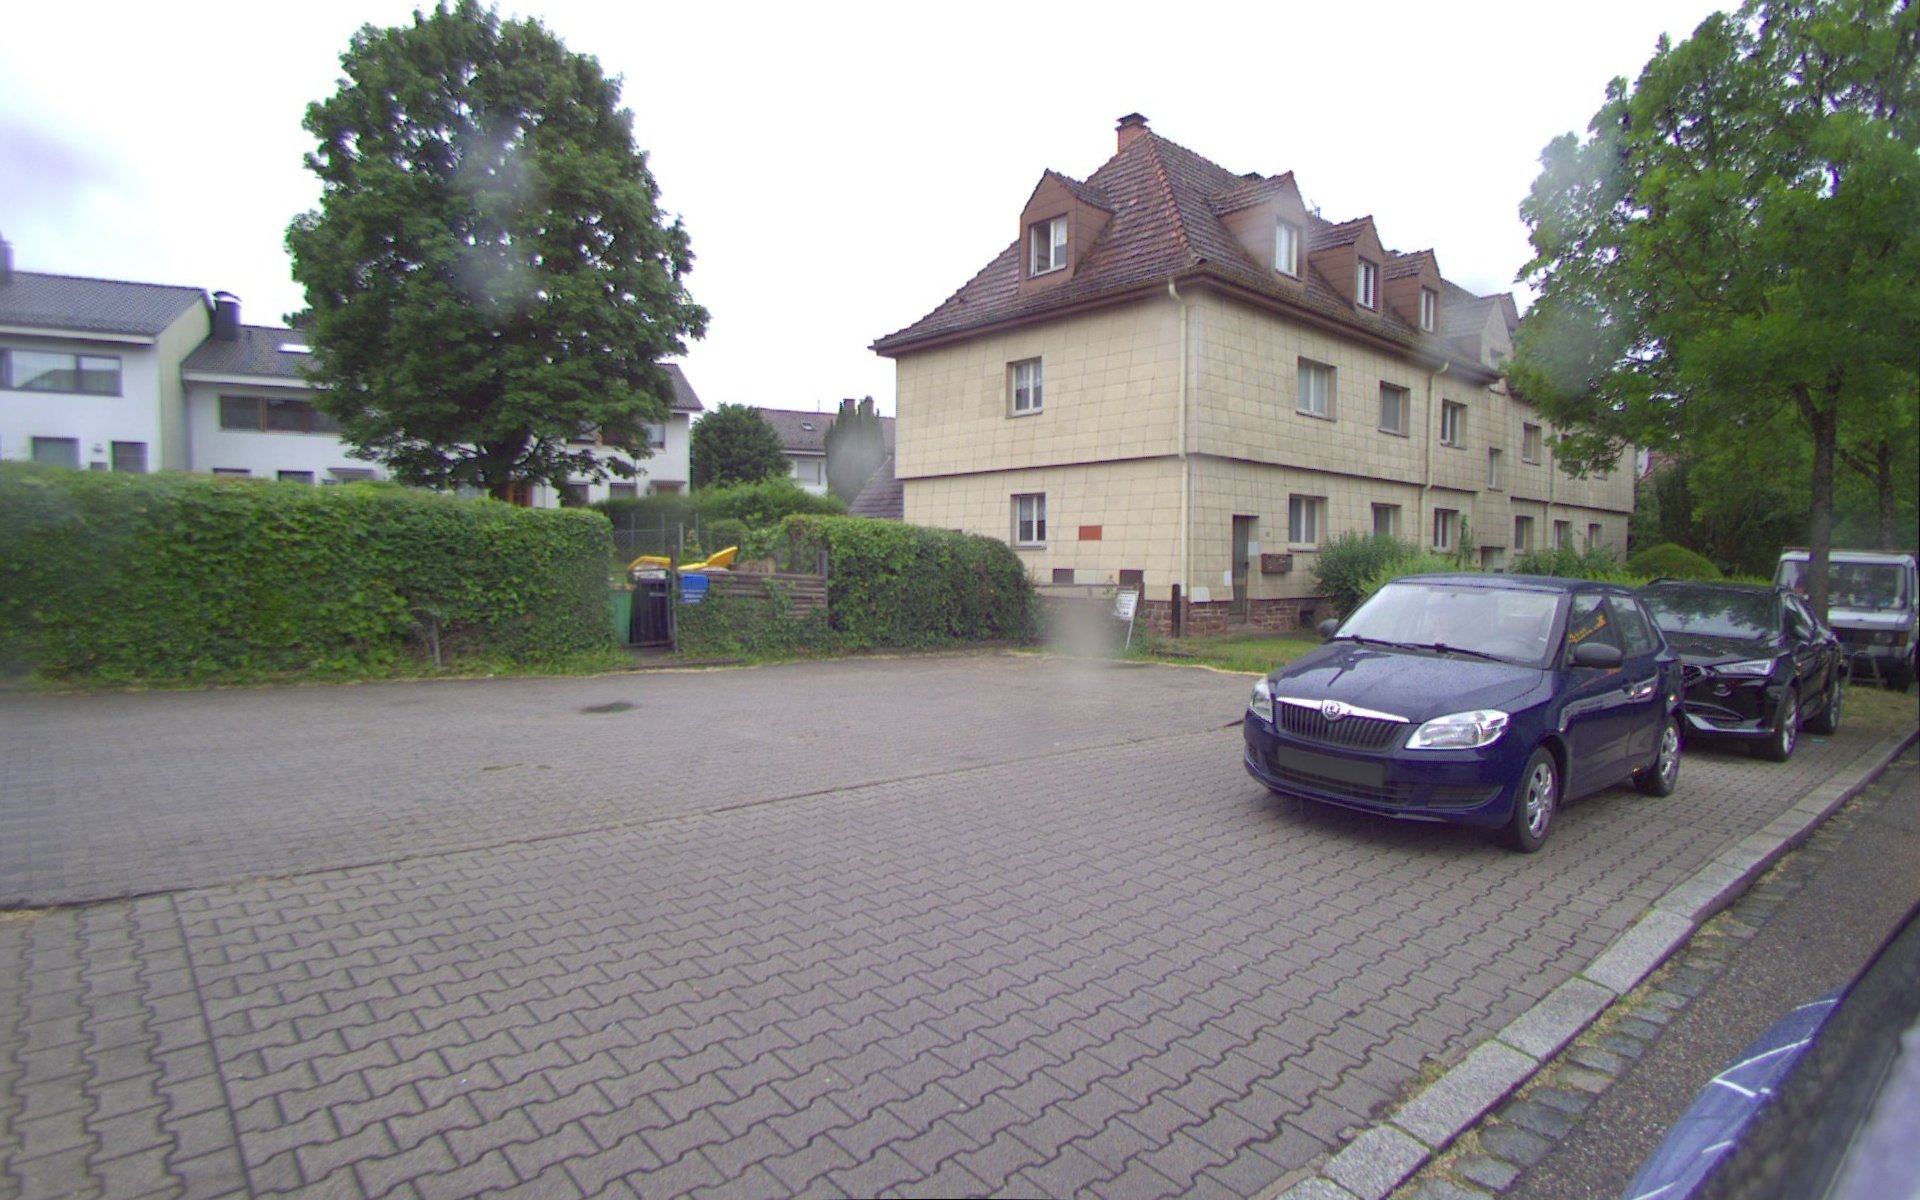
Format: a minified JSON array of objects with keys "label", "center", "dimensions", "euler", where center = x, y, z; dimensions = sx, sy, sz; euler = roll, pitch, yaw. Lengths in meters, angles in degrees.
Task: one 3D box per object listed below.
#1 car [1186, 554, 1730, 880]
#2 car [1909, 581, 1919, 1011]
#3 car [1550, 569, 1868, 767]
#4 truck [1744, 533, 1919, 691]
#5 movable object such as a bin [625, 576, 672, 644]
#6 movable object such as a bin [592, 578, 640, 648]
[{"label":"car","center":[3.387,0.488,6.558],"dimensions":[3.930,1.441,1.719],"euler":[-1,4,-41]},{"label":"car","center":[5.625,0.695,4.299],"dimensions":[4.240,1.548,1.881],"euler":[0,-1,-41]},{"label":"car","center":[7.433,0.495,9.909],"dimensions":[3.932,1.481,1.719],"euler":[-1,4,-42]},{"label":"truck","center":[15.031,0.135,16.791],"dimensions":[5.653,2.224,1.998],"euler":[0,2,-40]},{"label":"movable object such as a bin","center":[-4.461,0.136,14.481],"dimensions":[0.441,0.954,0.539],"euler":[0,0,-45]},{"label":"movable object such as a bin","center":[-4.791,0.169,14.078],"dimensions":[0.441,0.954,0.539],"euler":[0,0,-45]}]
